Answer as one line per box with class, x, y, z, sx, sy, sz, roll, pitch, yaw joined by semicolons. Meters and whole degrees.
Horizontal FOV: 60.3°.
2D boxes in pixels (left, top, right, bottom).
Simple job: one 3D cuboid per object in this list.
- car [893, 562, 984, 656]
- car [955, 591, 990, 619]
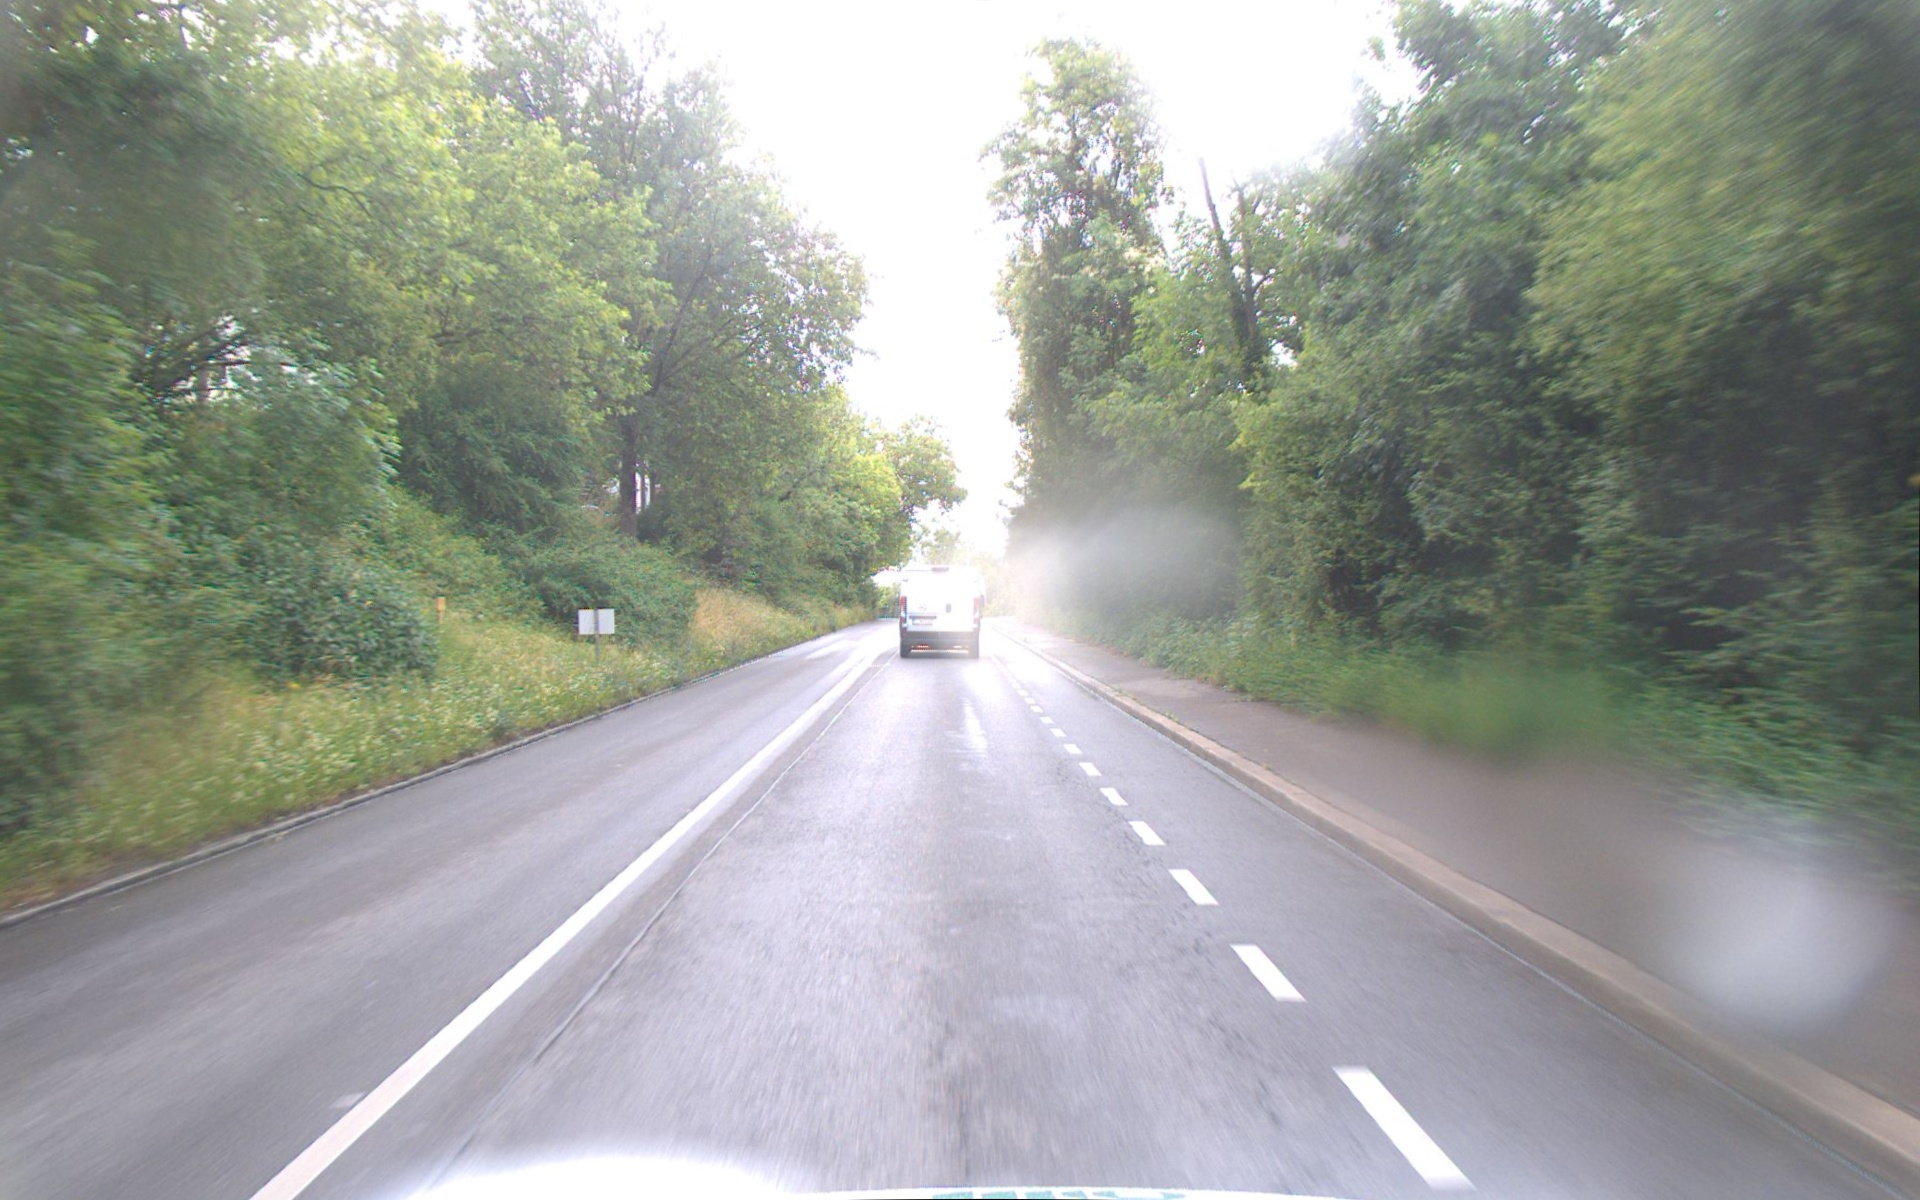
car;-0.550;0.228;42.507;2.192;2.252;4.712;1;0;-1
car;0.826;0.351;112.513;2.192;1.836;4.711;1;0;-2
